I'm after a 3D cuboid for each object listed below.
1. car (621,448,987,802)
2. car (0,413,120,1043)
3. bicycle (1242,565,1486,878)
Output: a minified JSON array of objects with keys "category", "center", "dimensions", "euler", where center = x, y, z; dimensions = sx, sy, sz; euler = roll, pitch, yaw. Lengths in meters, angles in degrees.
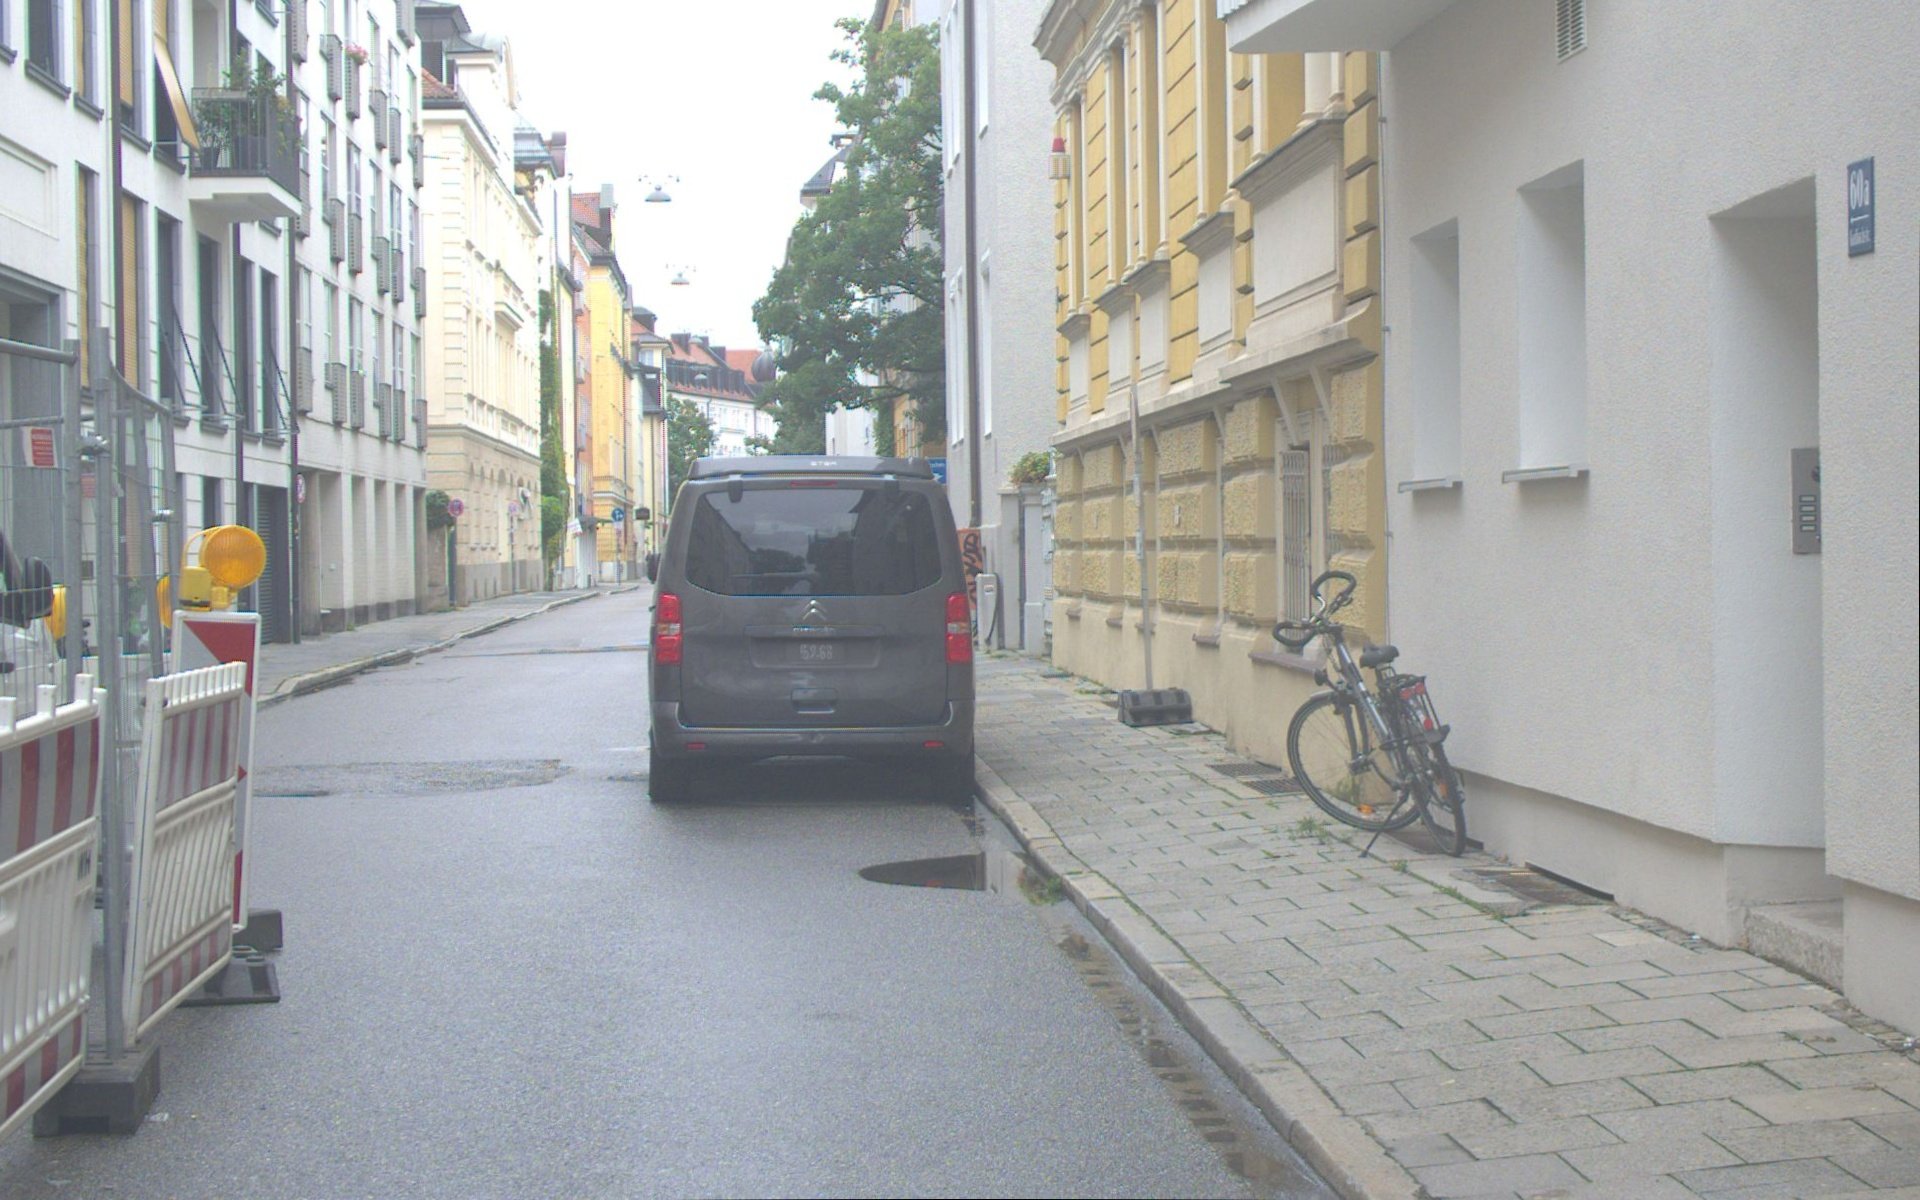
[{"category":"car","center":[-1.025,0.096,21.121],"dimensions":[1.993,1.925,4.661],"euler":[0,1,-4]},{"category":"car","center":[-3.876,0.390,10.535],"dimensions":[1.904,1.891,5.090],"euler":[-1,1,-7]},{"category":"bicycle","center":[1.663,0.466,14.423],"dimensions":[0.638,1.149,1.915],"euler":[-4,2,-3]}]
